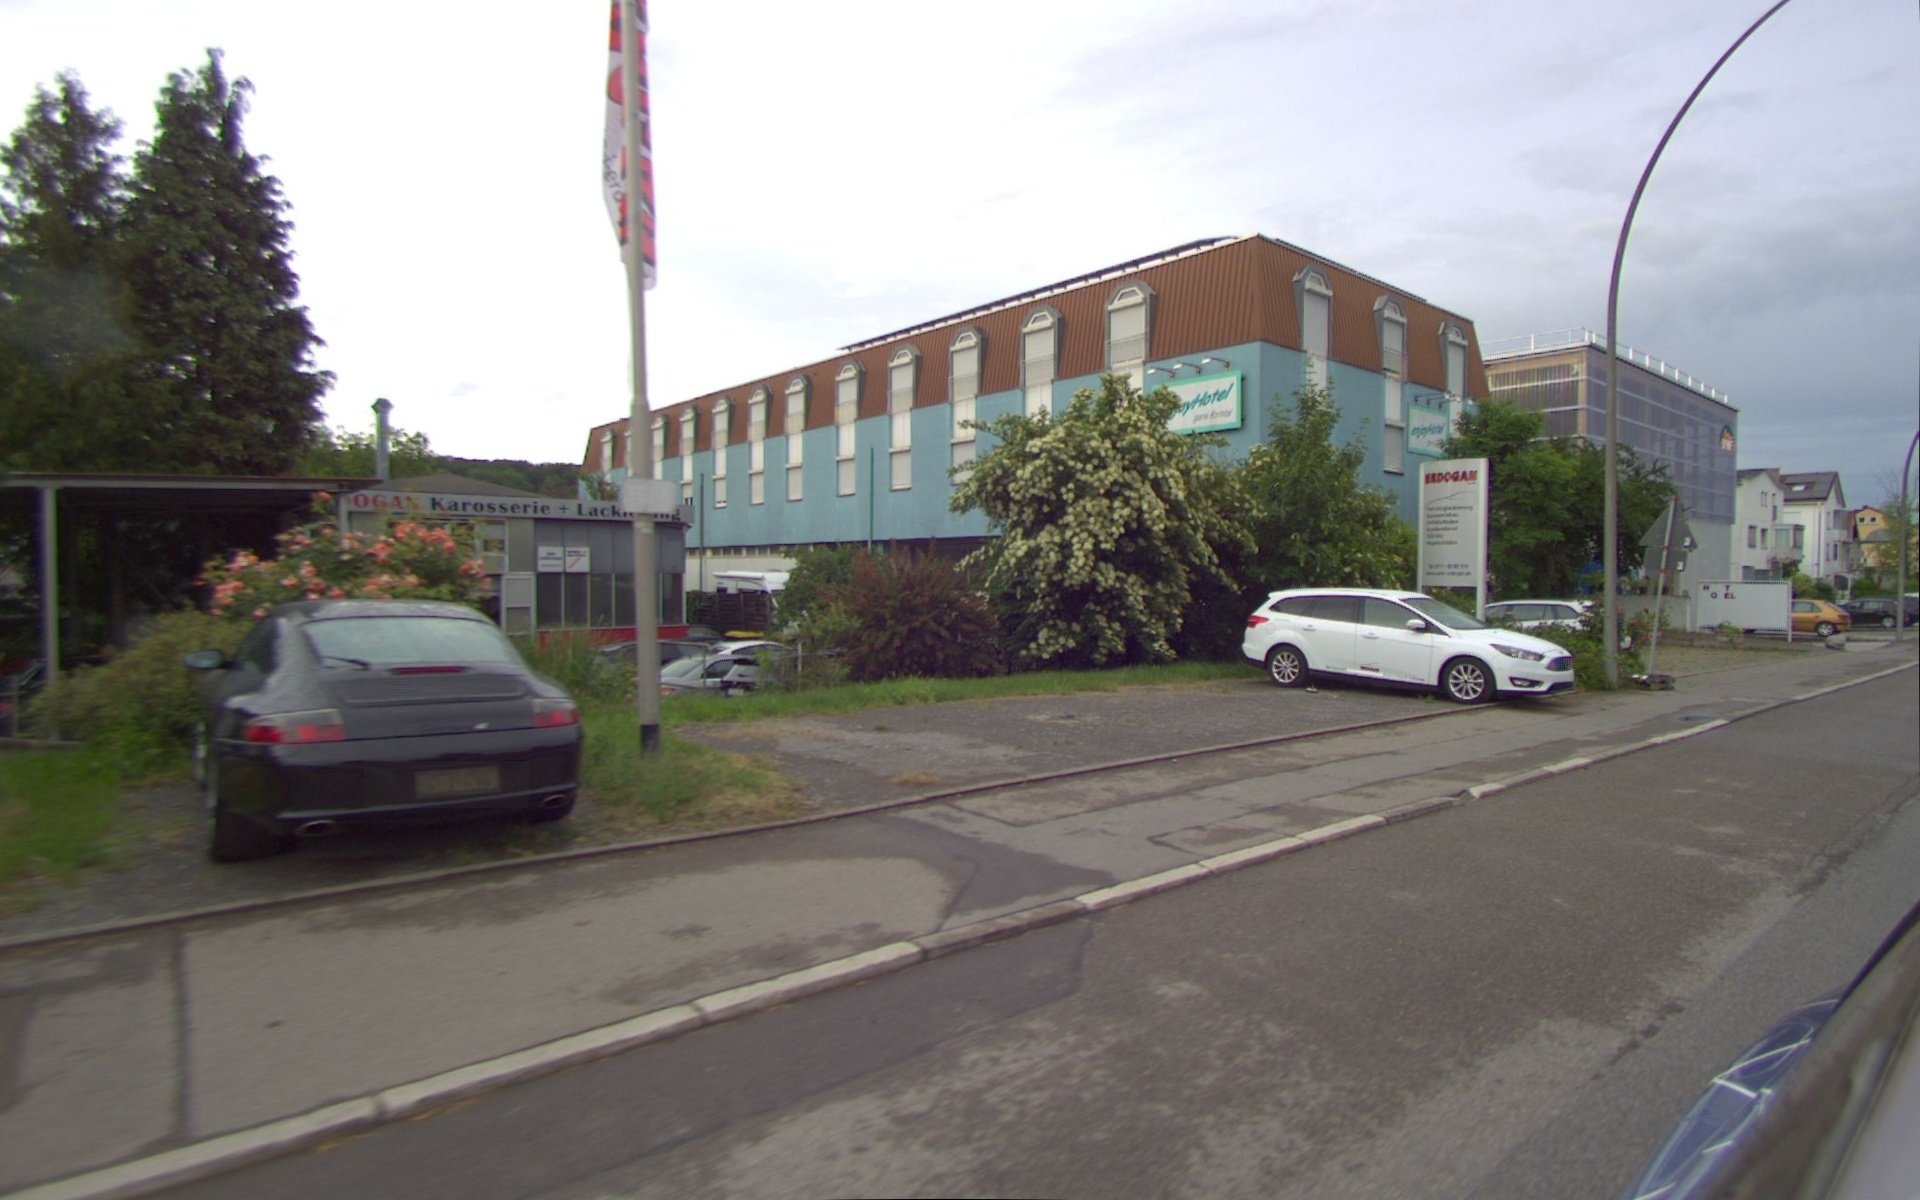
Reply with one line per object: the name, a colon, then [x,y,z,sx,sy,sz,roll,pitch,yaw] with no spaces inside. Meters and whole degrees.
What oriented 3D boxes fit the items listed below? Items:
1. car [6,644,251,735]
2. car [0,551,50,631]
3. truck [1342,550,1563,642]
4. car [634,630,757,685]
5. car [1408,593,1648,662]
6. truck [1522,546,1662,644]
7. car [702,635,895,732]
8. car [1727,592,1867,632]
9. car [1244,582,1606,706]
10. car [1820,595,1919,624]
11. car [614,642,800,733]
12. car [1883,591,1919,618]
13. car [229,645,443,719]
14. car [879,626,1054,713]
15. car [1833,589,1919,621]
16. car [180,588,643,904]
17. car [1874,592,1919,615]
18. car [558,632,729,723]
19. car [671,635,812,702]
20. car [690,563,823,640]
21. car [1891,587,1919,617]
car: [-15.928,1.641,19.491,1.723,1.393,3.429,-1,0,41]
car: [-38.687,-0.321,40.796,2.592,3.043,6.052,-1,0,-38]
truck: [21.923,-0.125,45.596,2.676,3.754,8.546,-1,0,-41]
car: [-8.486,1.792,32.535,3.466,1.523,1.666,-1,1,-41]
car: [12.835,0.566,23.093,1.848,1.410,4.421,0,0,-42]
truck: [25.732,-0.157,41.266,2.674,3.721,4.148,0,-2,-42]
car: [-2.968,1.477,18.942,3.227,1.494,1.620,-1,1,-43]
car: [32.273,0.417,39.112,1.602,1.448,3.993,0,1,-41]
car: [6.465,0.503,14.487,1.869,1.494,4.346,-1,1,-40]
car: [48.564,0.473,53.851,1.800,1.508,3.976,0,0,-38]
car: [-5.039,1.679,20.341,3.227,1.494,1.707,-1,1,-43]
car: [59.264,0.283,61.560,1.860,1.645,4.453,-1,0,-40]
car: [-14.325,1.865,23.371,3.892,1.524,1.853,-1,0,5]
car: [0.187,1.450,22.290,3.594,1.605,1.802,-1,1,-42]
car: [50.497,0.249,55.118,1.946,1.696,4.234,-1,0,-40]
car: [-3.649,0.593,6.318,1.915,1.282,3.997,-1,0,-38]
car: [60.939,0.218,64.111,1.818,1.396,4.327,-1,0,-40]
car: [-6.912,1.628,22.234,3.227,1.674,1.642,-1,1,-43]
car: [-6.038,1.846,28.108,3.466,1.577,1.666,-1,1,-41]
car: [-7.935,0.045,39.030,2.407,2.744,5.937,-1,0,-41]
car: [63.169,0.141,64.966,1.964,1.910,4.741,-1,0,-39]
